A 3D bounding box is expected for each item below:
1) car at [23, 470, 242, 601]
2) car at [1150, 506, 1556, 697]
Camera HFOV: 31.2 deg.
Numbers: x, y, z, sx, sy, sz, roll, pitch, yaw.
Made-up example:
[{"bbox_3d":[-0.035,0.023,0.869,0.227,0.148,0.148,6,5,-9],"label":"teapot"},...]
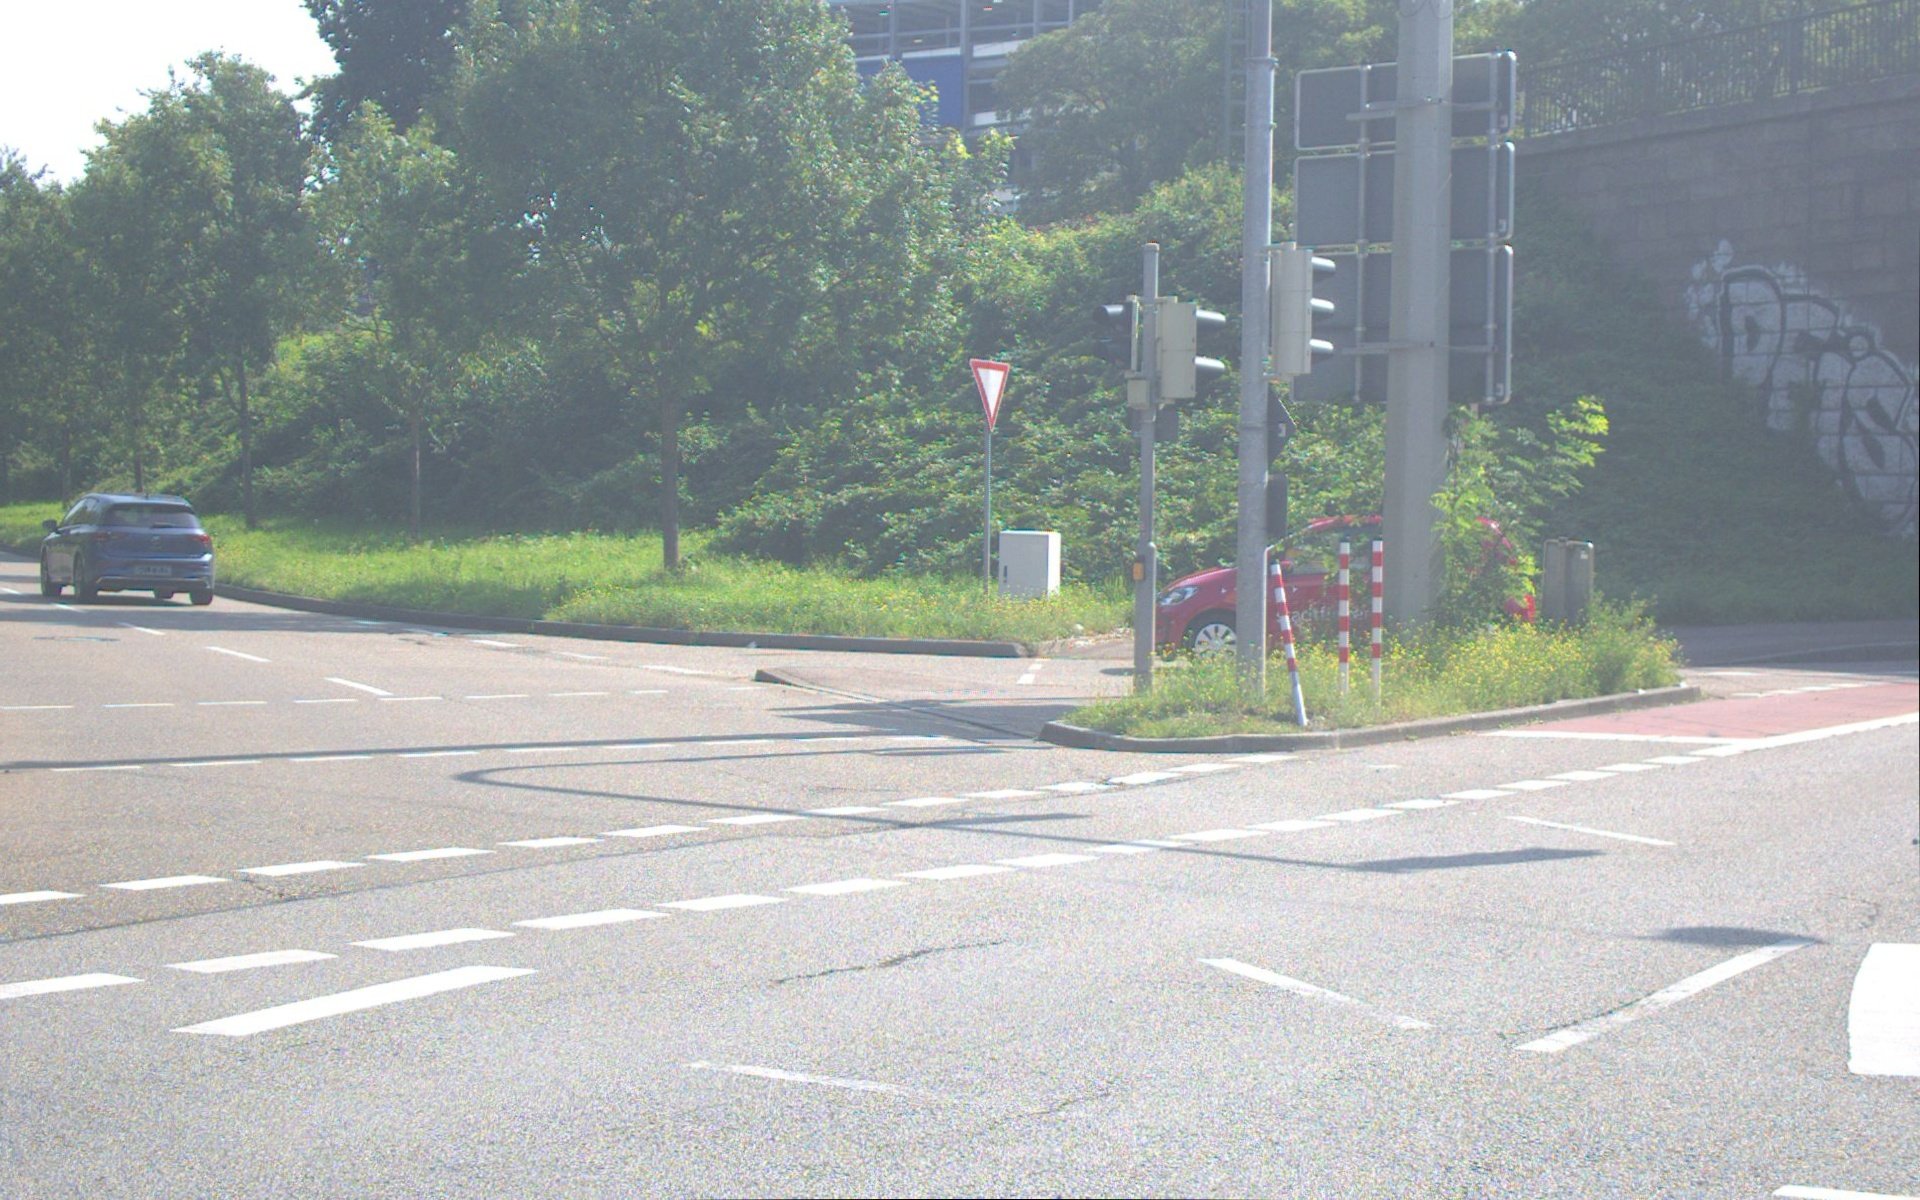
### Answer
[{"bbox_3d":[-11.068,-0.880,45.800,1.780,1.422,4.001,1,4,-29],"label":"car"},{"bbox_3d":[3.604,-0.014,31.712,3.543,1.462,1.644,4,3,6],"label":"car"}]
